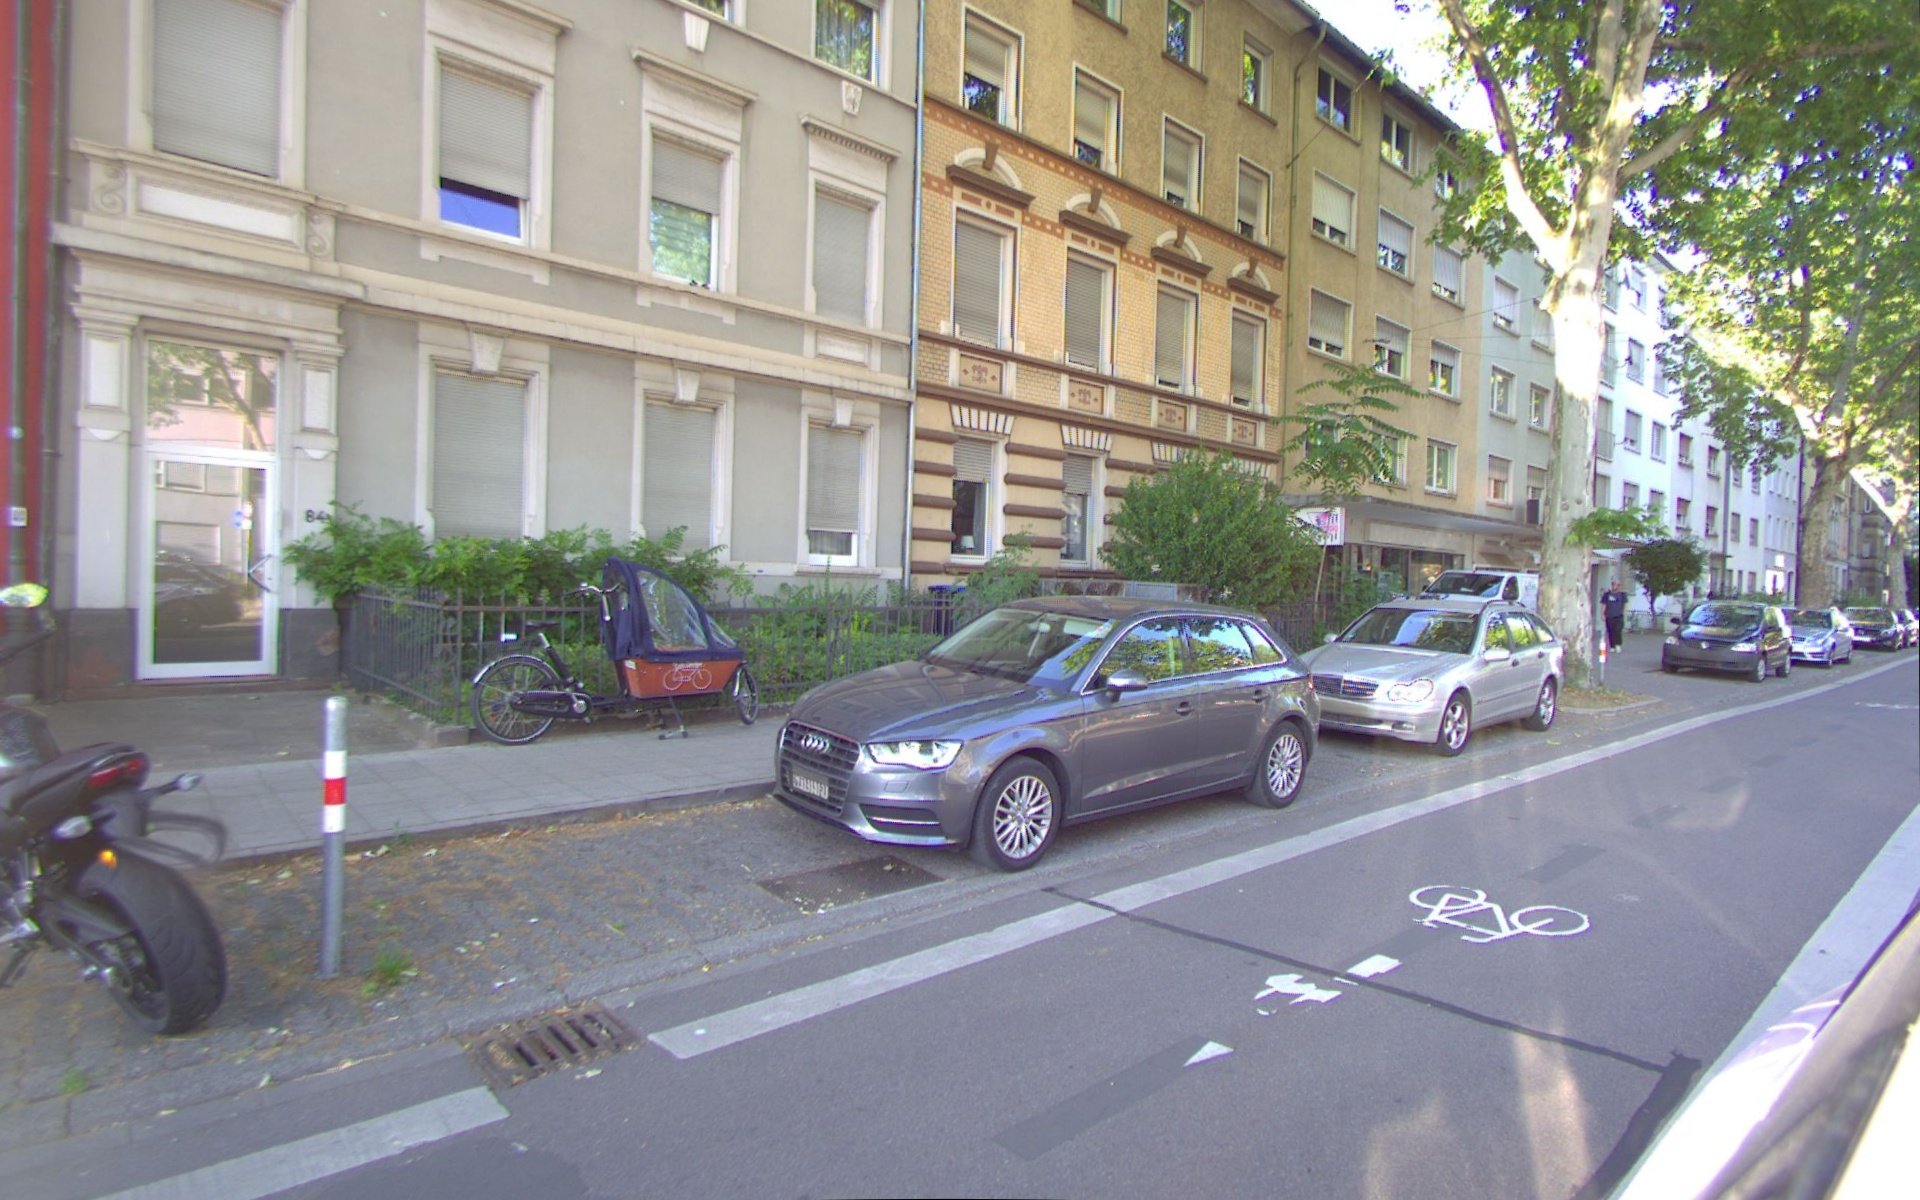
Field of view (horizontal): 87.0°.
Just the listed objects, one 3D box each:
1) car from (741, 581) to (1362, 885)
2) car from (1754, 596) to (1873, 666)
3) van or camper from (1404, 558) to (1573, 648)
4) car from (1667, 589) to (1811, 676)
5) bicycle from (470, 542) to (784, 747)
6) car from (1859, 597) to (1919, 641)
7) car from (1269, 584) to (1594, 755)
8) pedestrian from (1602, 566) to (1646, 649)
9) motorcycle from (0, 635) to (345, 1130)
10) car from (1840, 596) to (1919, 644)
[{"bbox_3d":[0.839,0.629,6.882,4.245,1.414,1.714,0,2,-41],"label":"car"},{"bbox_3d":[21.865,0.726,25.856,4.695,1.561,1.697,0,2,-42],"label":"car"},{"bbox_3d":[13.047,0.047,24.817,5.299,1.946,1.945,0,2,-42],"label":"van or camper"},{"bbox_3d":[16.111,0.603,20.863,3.932,1.564,1.656,0,2,-42],"label":"car"},{"bbox_3d":[-2.596,0.310,8.136,2.354,1.445,0.608,0,0,-41],"label":"bicycle"},{"bbox_3d":[35.061,0.664,37.775,4.289,1.432,1.712,0,4,-42],"label":"car"},{"bbox_3d":[5.327,0.603,11.109,4.494,1.469,1.676,0,2,-43],"label":"car"},{"bbox_3d":[16.851,0.172,25.678,0.995,2.039,0.683,0,1,-43],"label":"pedestrian"},{"bbox_3d":[-3.160,0.767,3.475,2.193,1.076,0.760,4,2,28],"label":"motorcycle"},{"bbox_3d":[31.535,0.640,34.506,4.289,1.432,1.712,0,4,-42],"label":"car"}]
